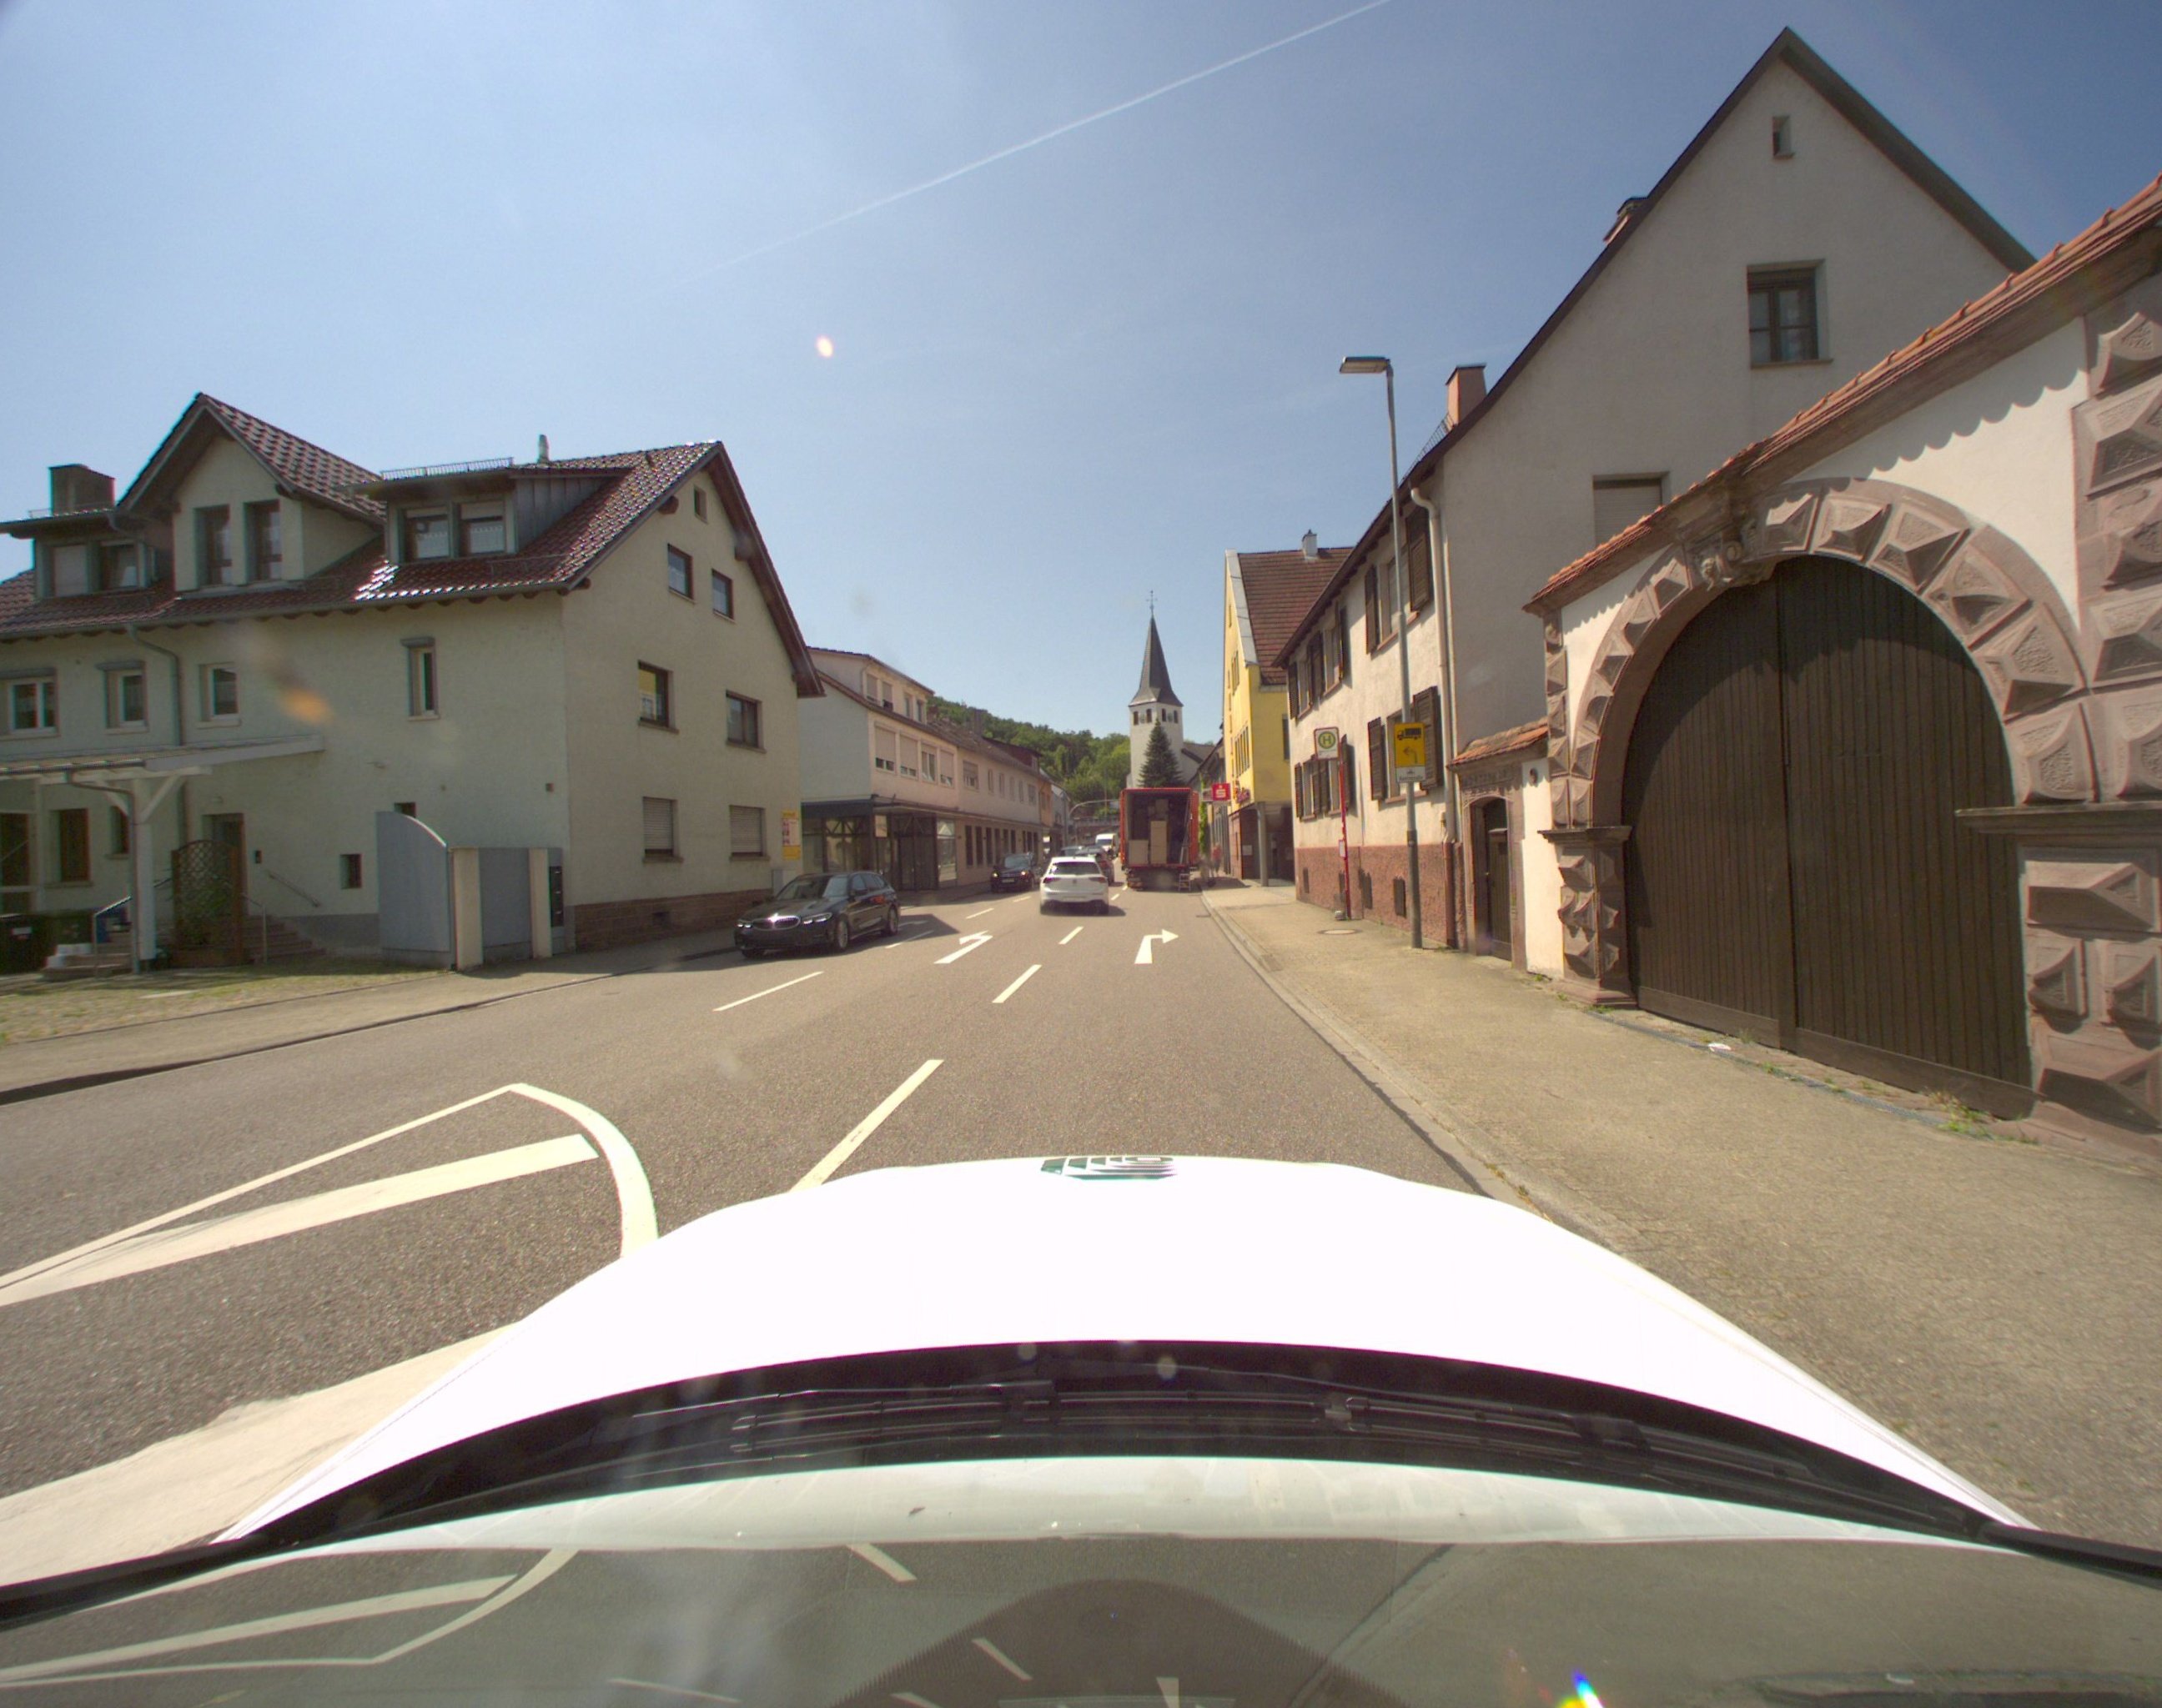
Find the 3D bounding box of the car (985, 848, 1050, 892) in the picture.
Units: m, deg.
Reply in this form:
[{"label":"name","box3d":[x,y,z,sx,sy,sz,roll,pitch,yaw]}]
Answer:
[{"label":"car","box3d":[-2.711,0.651,35.822,1.680,1.698,4.125,-3,1,11]}]

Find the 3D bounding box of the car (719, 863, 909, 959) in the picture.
[{"label":"car","box3d":[-4.961,0.984,15.860,1.785,1.493,4.428,-4,-1,6]}]

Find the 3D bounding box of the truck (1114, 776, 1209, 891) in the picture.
[{"label":"truck","box3d":[3.354,-0.724,35.472,3.352,4.170,9.528,-3,-1,4]}]

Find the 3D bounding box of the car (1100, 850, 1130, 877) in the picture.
[{"label":"car","box3d":[2.201,0.612,53.960,1.808,1.628,4.001,-3,-1,1]}]

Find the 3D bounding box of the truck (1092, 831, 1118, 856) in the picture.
[{"label":"truck","box3d":[2.600,-1.065,88.236,2.106,2.474,5.748,-4,-1,7]}]

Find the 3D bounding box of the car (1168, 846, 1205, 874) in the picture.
[{"label":"car","box3d":[6.489,0.385,50.598,1.808,1.519,4.001,-3,-1,1]}]

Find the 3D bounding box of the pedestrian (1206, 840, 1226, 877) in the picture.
[{"label":"pedestrian","box3d":[6.599,0.242,39.833,0.766,1.742,0.870,-3,-1,0]}]

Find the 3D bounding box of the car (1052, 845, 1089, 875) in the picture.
[{"label":"car","box3d":[-0.671,0.368,55.047,1.792,1.779,4.714,-4,0,7]}]

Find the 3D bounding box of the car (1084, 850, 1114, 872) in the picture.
[{"label":"car","box3d":[1.578,0.595,68.931,1.983,1.651,4.008,-4,-1,7]}]

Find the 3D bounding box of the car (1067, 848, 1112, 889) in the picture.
[{"label":"car","box3d":[0.406,0.652,36.353,1.808,1.628,4.001,-3,-1,1]}]

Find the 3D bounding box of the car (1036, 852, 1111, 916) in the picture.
[{"label":"car","box3d":[-0.123,0.755,21.902,1.808,1.519,4.001,-1,-1,1]}]
